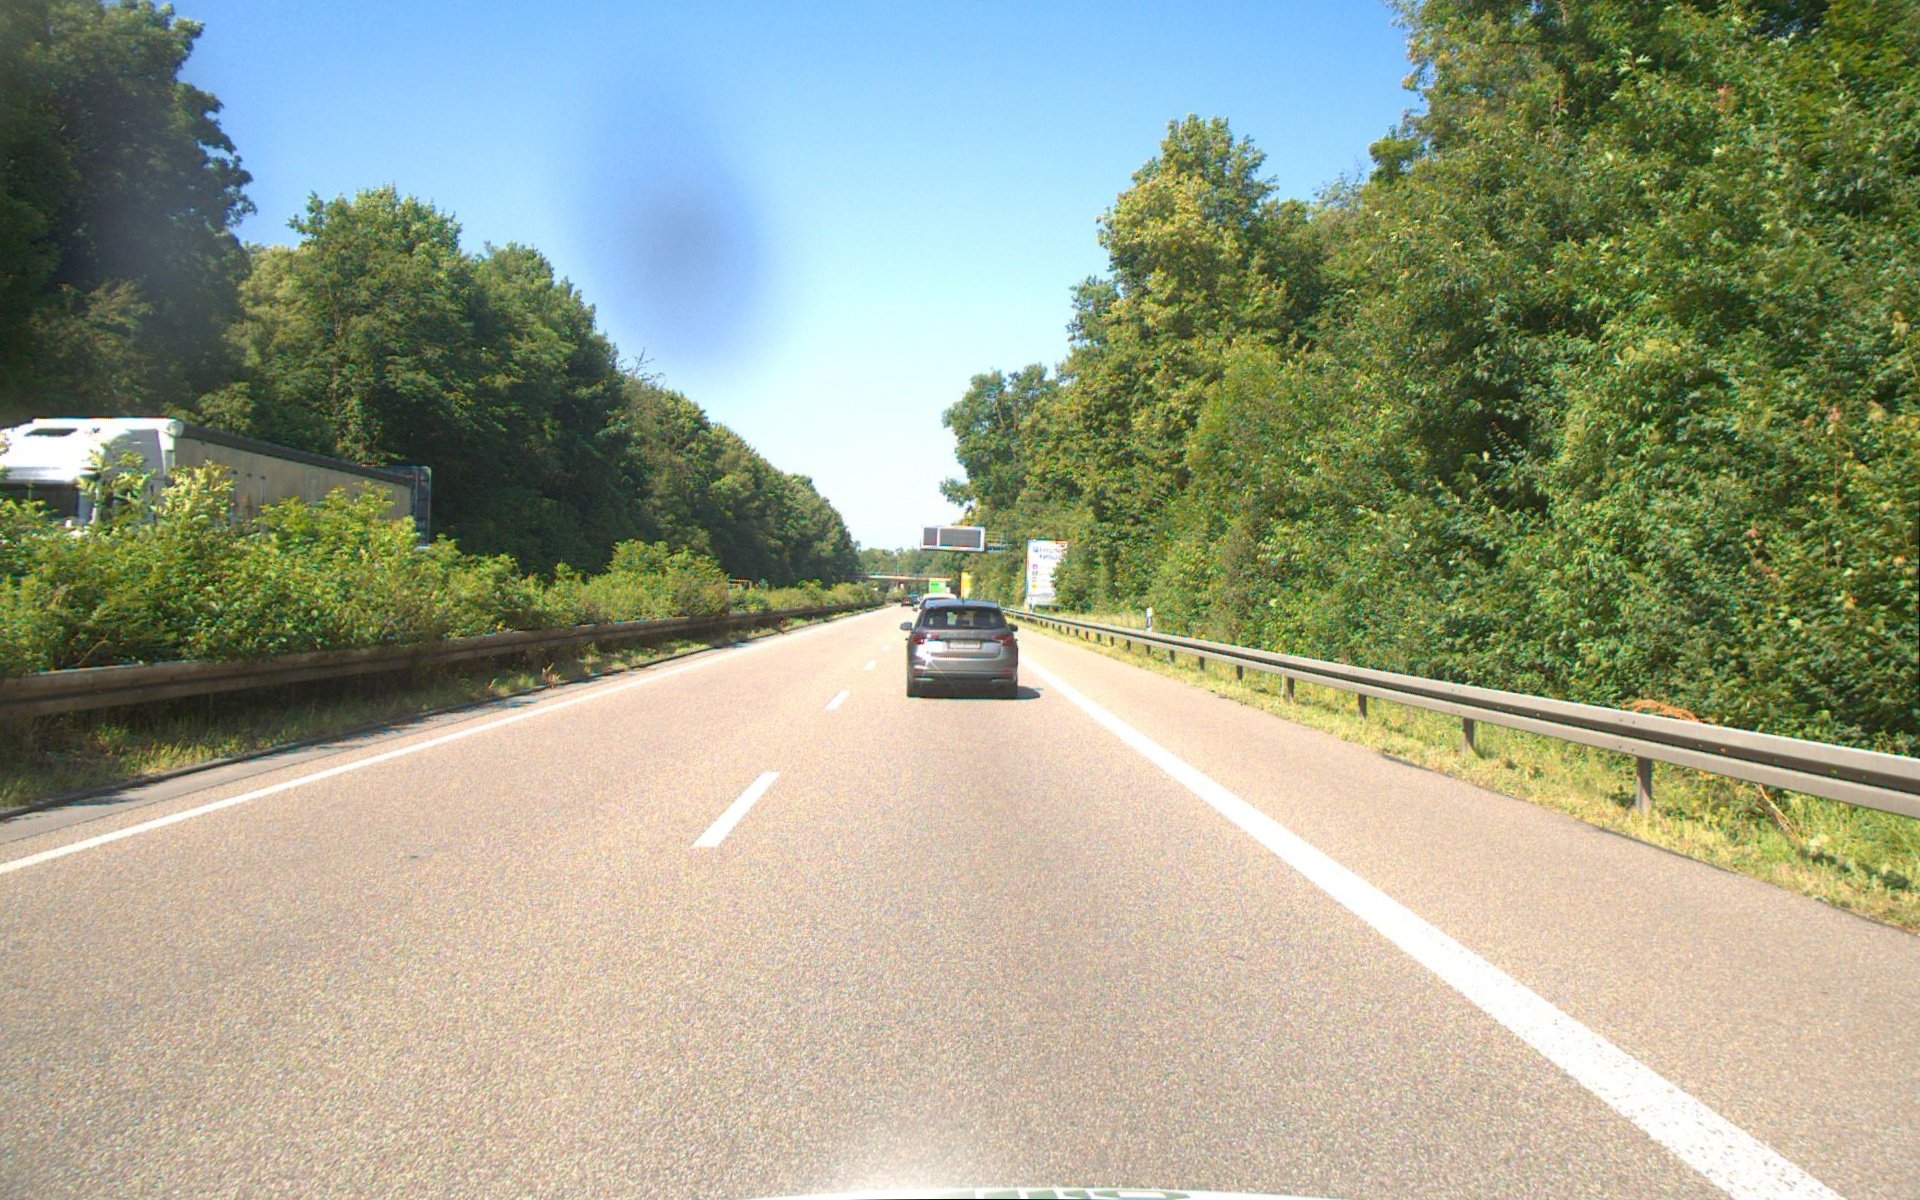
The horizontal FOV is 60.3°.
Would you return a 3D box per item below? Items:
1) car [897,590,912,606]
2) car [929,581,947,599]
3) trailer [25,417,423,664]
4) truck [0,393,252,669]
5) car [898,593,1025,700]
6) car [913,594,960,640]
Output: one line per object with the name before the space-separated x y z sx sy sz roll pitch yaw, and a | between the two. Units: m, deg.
car | -7.392 -0.203 220.872 1.953 2.049 3.999 1 0 -1
car | -3.386 -1.501 251.987 2.693 2.701 3.999 1 0 -1
trailer | -15.426 -1.023 36.546 2.771 4.375 13.660 1 0 -1
truck | -15.270 -1.078 29.236 2.662 4.318 6.535 1 0 -1
car | 0.054 0.667 25.632 1.802 1.497 3.624 1 0 1
car | -0.794 0.564 56.734 1.491 1.472 3.340 1 0 1
